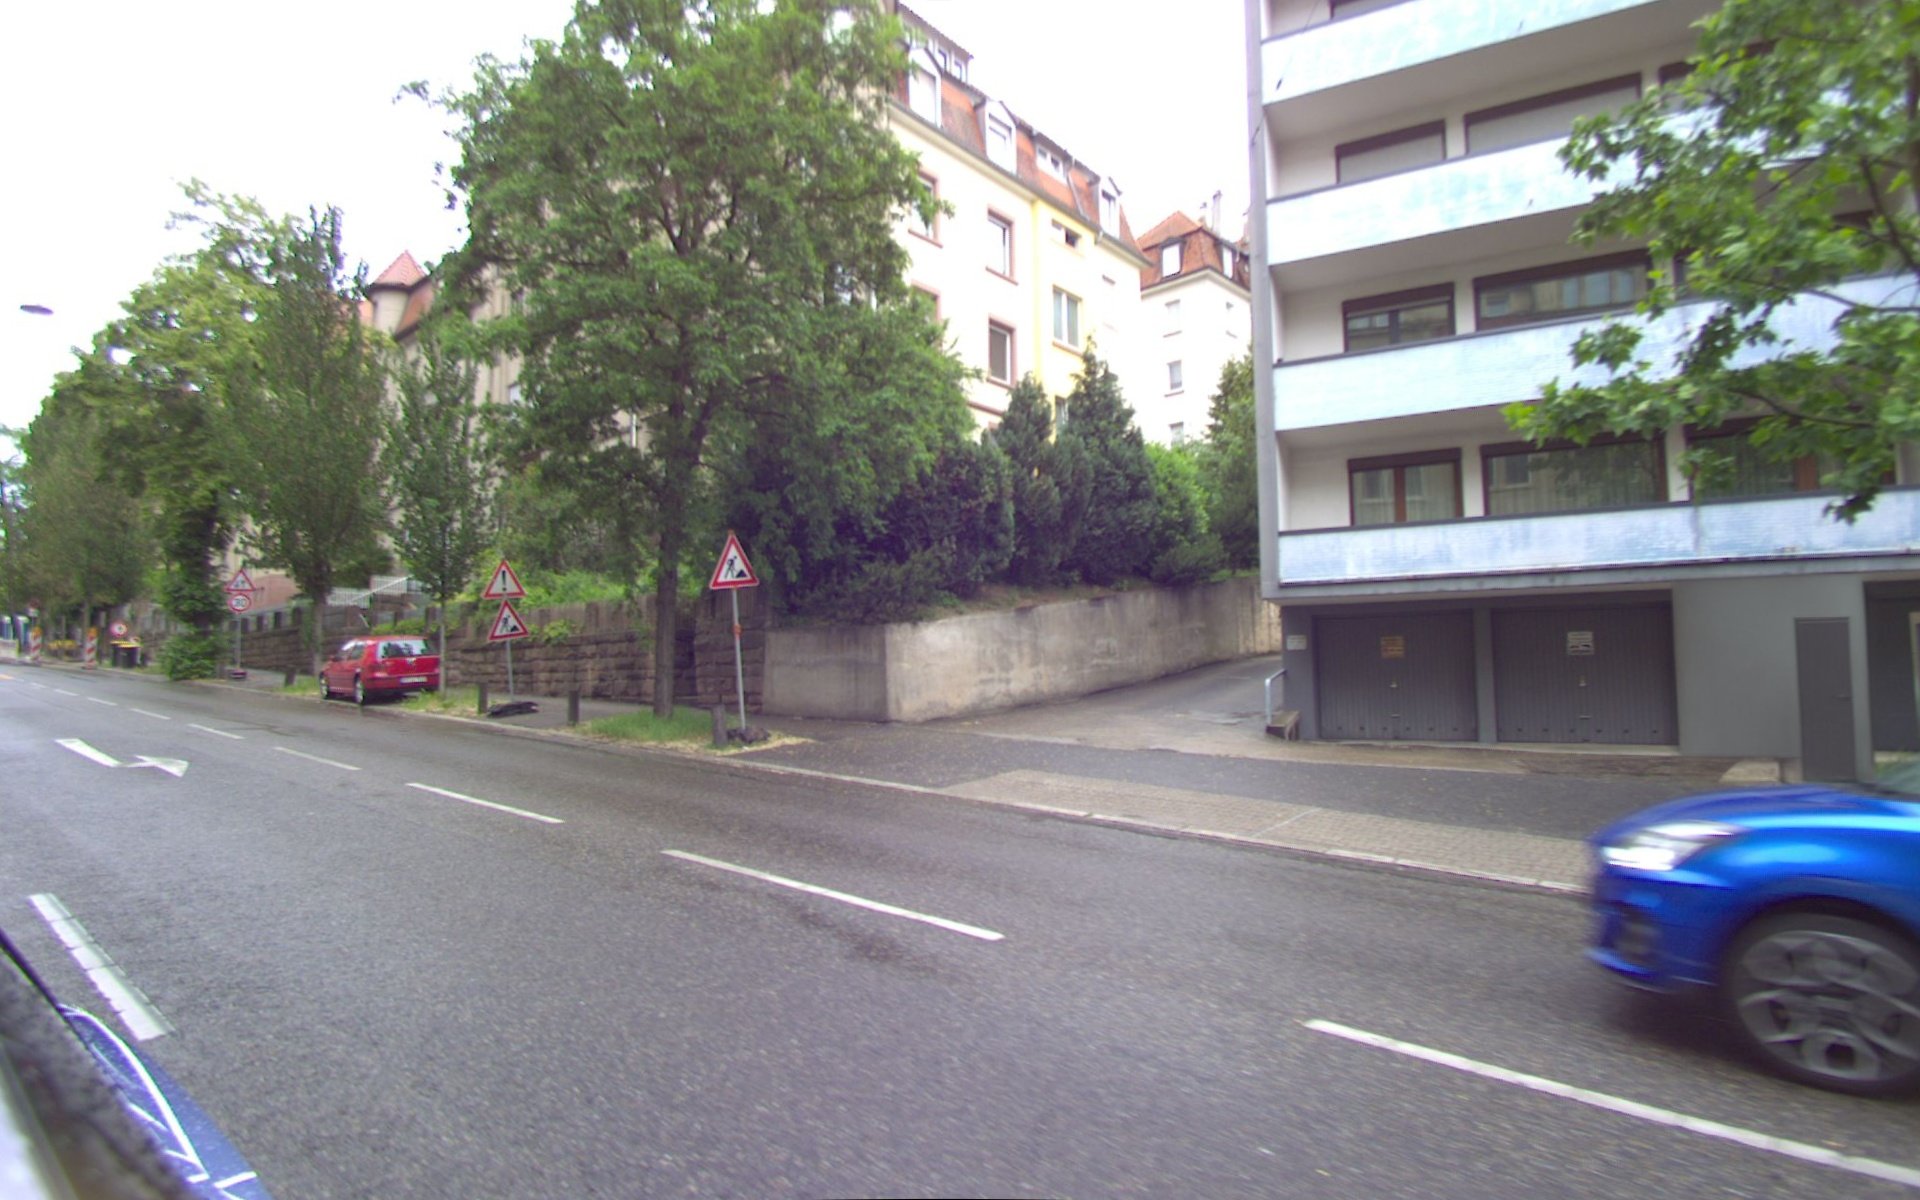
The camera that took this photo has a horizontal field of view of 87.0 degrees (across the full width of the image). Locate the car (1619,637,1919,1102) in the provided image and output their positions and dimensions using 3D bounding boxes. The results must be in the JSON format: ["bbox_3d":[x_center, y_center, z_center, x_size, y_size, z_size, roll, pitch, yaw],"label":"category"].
[{"bbox_3d":[4.419,0.921,3.206,3.739,1.462,1.697,-1,-7,40],"label":"car"}]

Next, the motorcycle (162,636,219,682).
[{"bbox_3d":[-25.225,1.909,33.150,3.058,1.425,0.792,-2,-1,39],"label":"motorcycle"}]

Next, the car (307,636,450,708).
[{"bbox_3d":[-13.095,1.543,22.696,4.063,1.462,1.596,-2,-2,42],"label":"car"}]
